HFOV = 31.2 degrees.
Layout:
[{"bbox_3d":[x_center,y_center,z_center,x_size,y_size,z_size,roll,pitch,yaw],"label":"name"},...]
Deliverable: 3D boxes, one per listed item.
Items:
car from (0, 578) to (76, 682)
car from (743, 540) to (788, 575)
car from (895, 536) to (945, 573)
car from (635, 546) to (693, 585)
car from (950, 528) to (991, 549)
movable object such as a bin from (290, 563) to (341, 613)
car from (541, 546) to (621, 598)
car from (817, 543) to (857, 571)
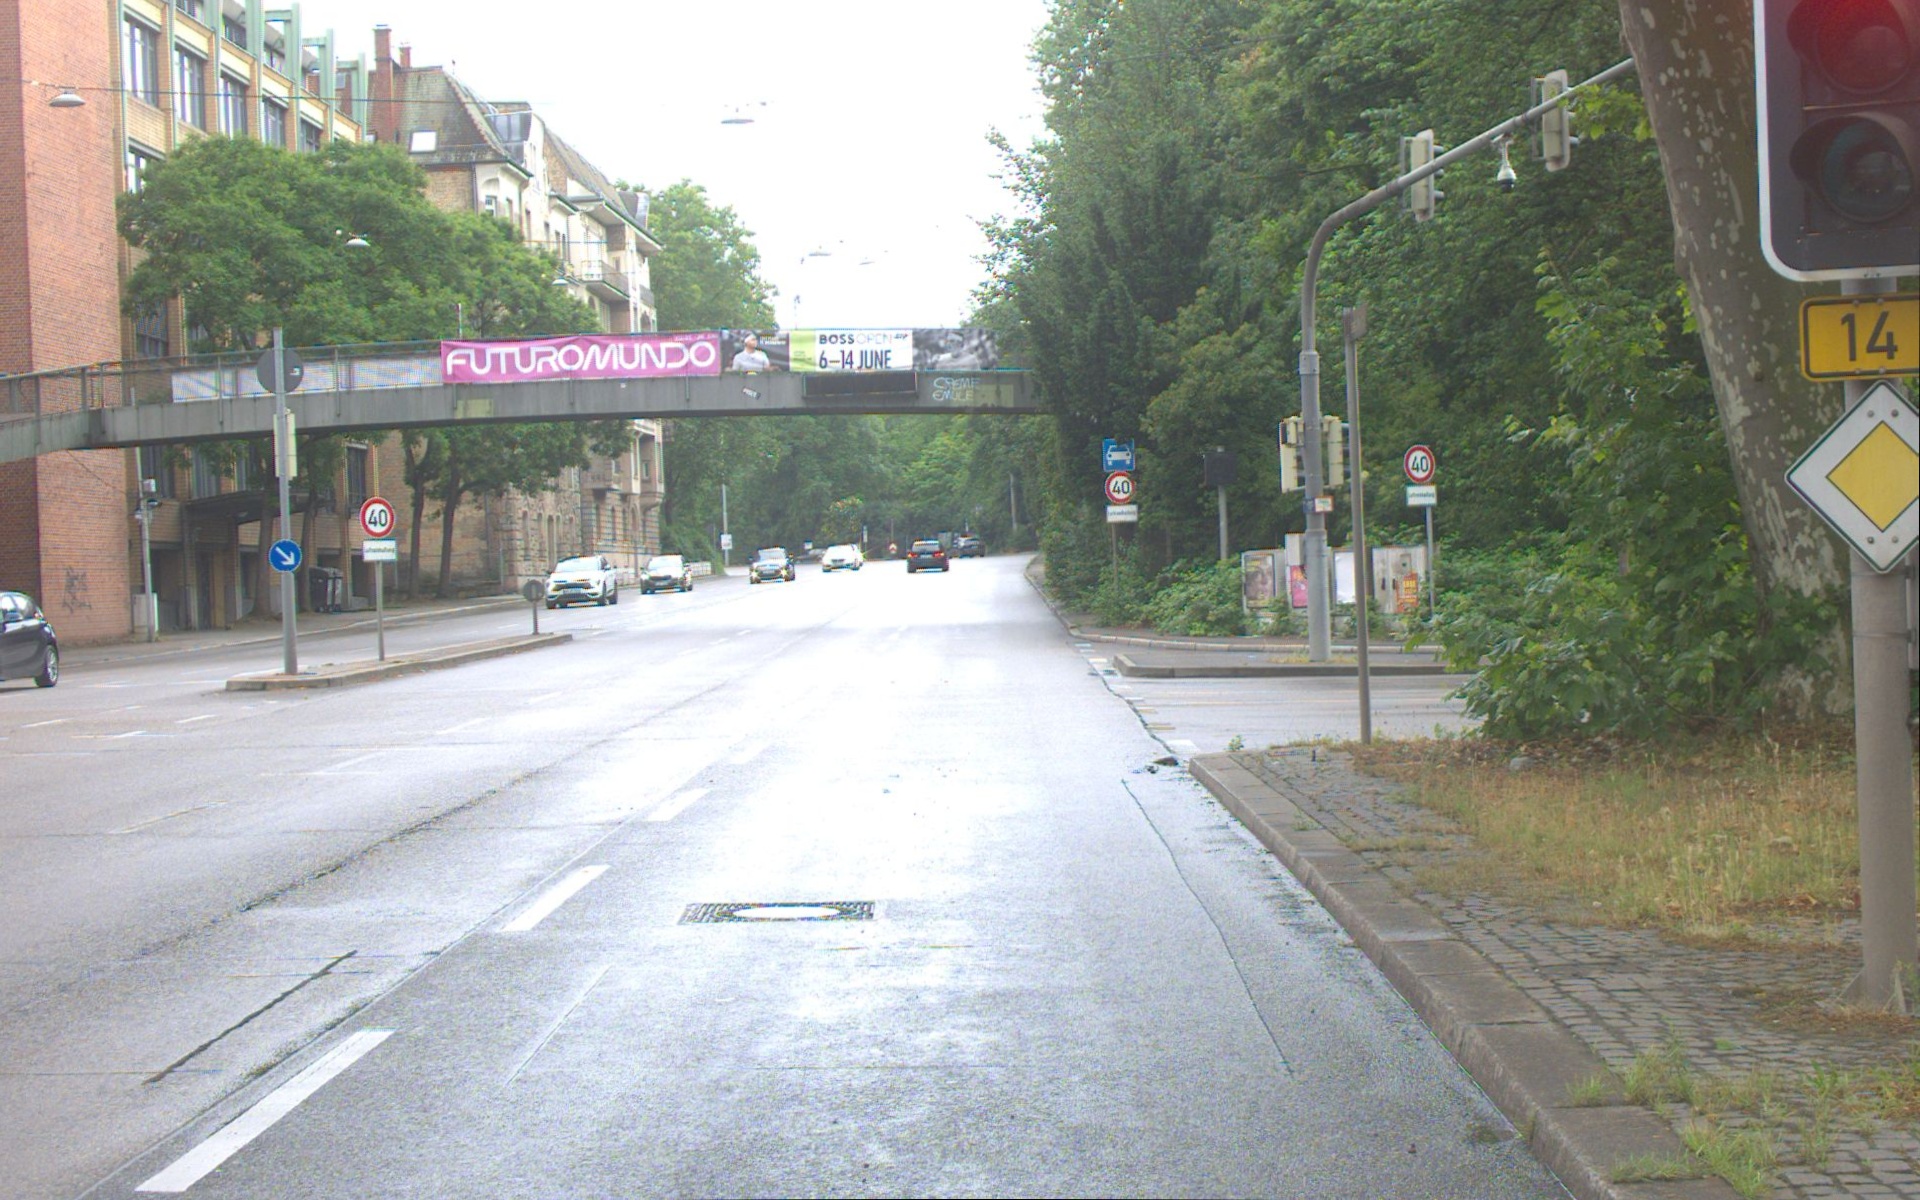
[{"bbox_3d":[-13.820,0.436,47.927,1.686,1.414,4.214,-2,0,3],"label":"car"},{"bbox_3d":[-8.334,-1.825,147.724,1.683,1.431,3.863,-2,0,0],"label":"car"},{"bbox_3d":[-1.822,-2.073,157.420,2.004,1.638,4.376,-2,1,2],"label":"car"},{"bbox_3d":[-11.582,-1.347,134.726,1.709,1.459,4.041,-2,0,3],"label":"car"},{"bbox_3d":[0.706,-4.261,238.771,1.842,1.448,3.778,1,1,-15],"label":"car"},{"bbox_3d":[-20.089,-0.370,107.118,1.282,1.513,1.273,-1,1,1],"label":"movable object such as a bin"},{"bbox_3d":[-12.112,-0.902,110.183,1.890,1.604,4.456,-1,0,2],"label":"car"},{"bbox_3d":[-6.510,-2.291,182.782,1.830,1.389,4.405,-3,0,1],"label":"car"}]
